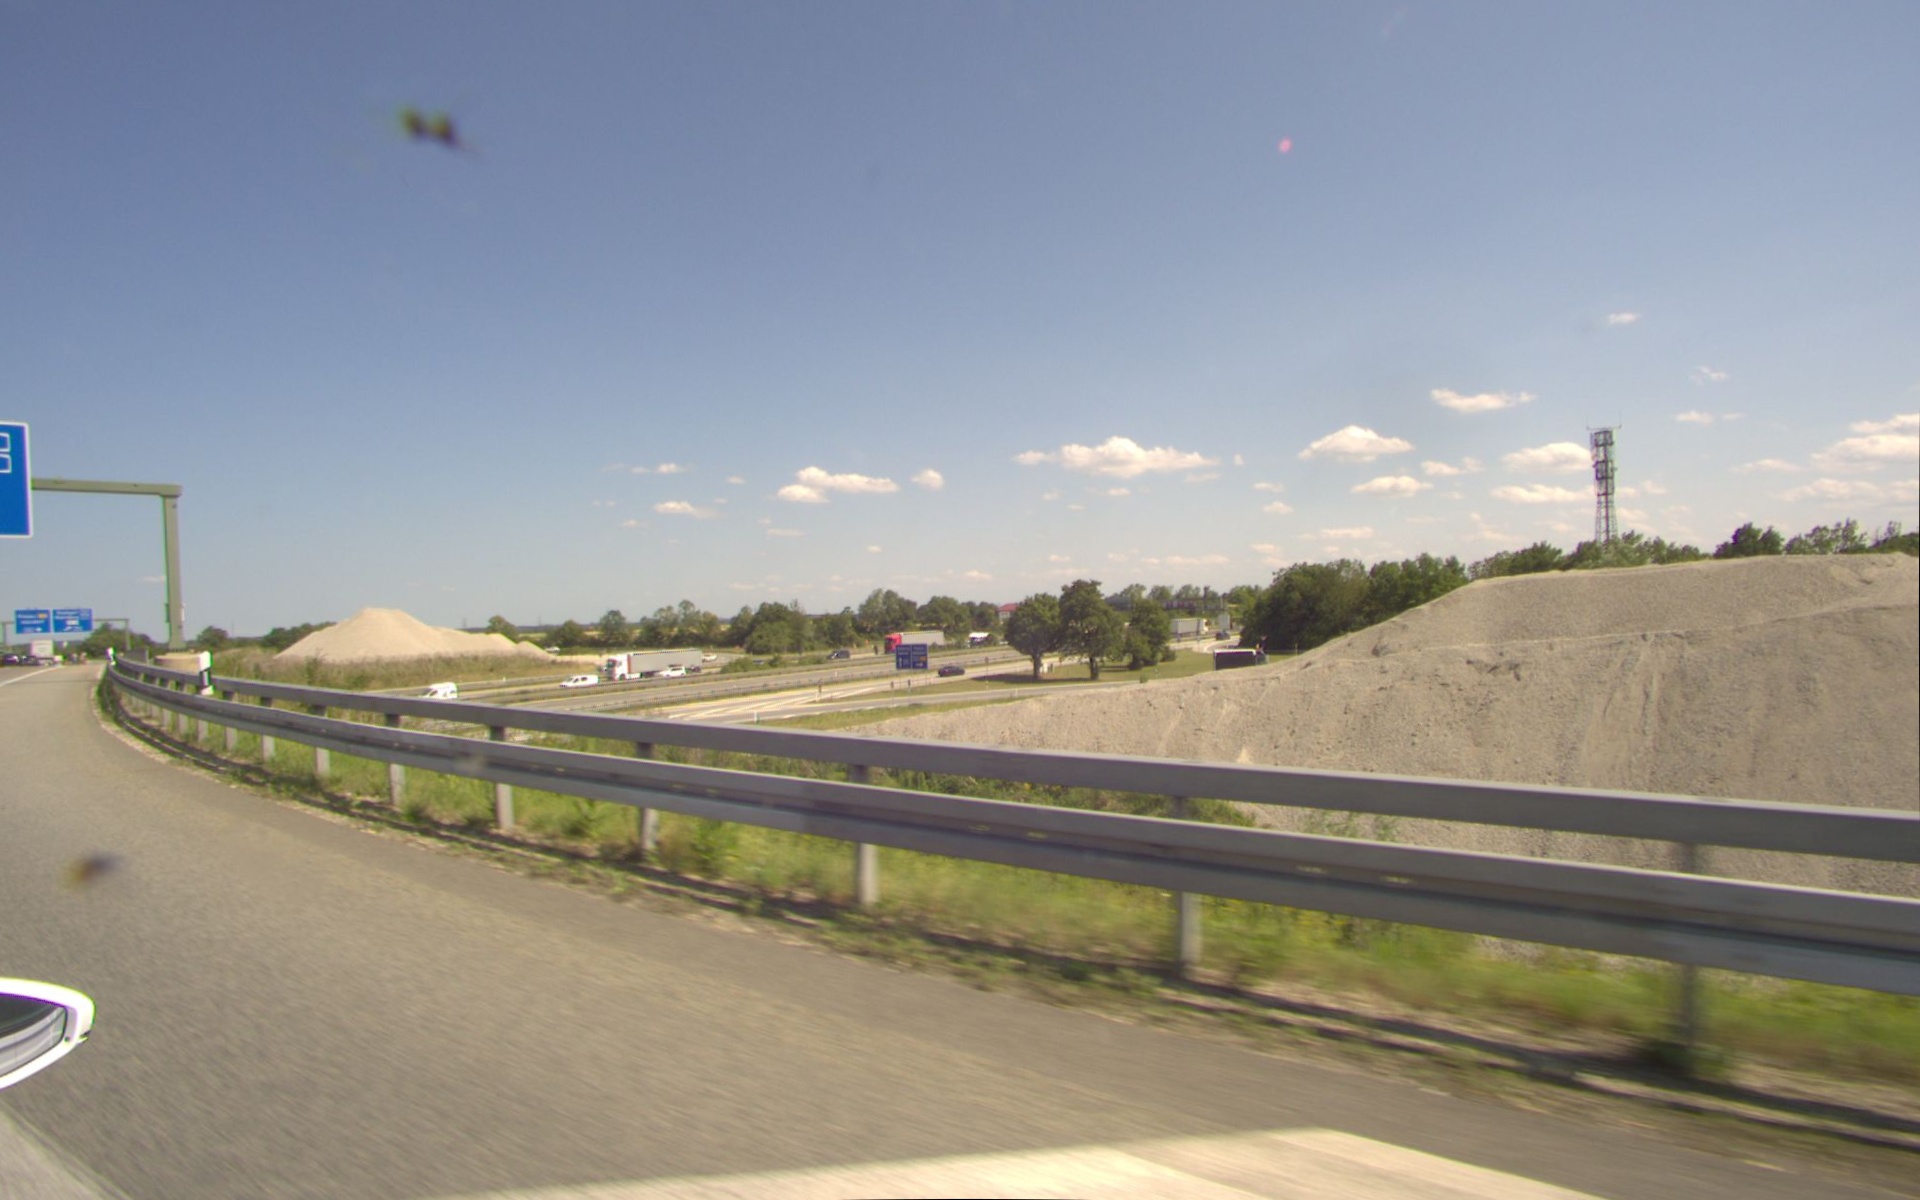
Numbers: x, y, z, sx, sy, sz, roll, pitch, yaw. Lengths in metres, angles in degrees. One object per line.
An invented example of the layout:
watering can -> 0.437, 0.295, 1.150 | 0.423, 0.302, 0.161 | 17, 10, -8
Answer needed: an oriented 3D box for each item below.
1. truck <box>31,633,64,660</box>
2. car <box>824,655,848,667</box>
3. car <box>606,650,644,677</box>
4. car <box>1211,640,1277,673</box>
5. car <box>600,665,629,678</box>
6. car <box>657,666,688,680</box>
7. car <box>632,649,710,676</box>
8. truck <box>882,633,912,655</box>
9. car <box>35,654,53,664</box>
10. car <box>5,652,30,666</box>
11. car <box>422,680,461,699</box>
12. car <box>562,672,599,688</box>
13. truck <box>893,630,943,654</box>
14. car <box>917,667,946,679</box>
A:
truck -> -148.451, 7.679, 163.064 | 3.514, 4.195, 11.165 | 3, -5, -41
car -> -22.882, 11.251, 184.945 | 1.977, 2.039, 4.377 | -3, -3, 39
car -> -51.249, 9.728, 153.315 | 2.454, 4.013, 5.122 | -2, -3, 39
car -> 31.767, 6.319, 112.207 | 6.943, 3.672, 2.002 | 0, -4, 9
car -> -59.973, 12.399, 173.652 | 1.977, 2.039, 4.377 | -3, -3, 39
car -> -44.882, 11.354, 156.446 | 1.977, 2.039, 4.377 | -3, -3, 39
car -> -45.950, 9.840, 159.860 | 2.454, 4.013, 12.919 | -2, -3, 39
truck -> -12.867, 8.943, 204.441 | 2.835, 4.118, 5.912 | -2, 0, 38
car -> -132.538, 8.526, 144.961 | 1.641, 1.397, 3.969 | 3, -5, -39
car -> -101.196, 6.341, 107.571 | 1.641, 1.397, 3.969 | 3, -5, -39
car -> -63.811, 11.003, 123.216 | 1.784, 2.039, 3.968 | -2, -3, 42
car -> -52.619, 11.042, 138.885 | 1.977, 2.039, 4.377 | -3, -3, 39
truck -> -8.694, 8.743, 209.834 | 2.835, 4.118, 12.483 | -2, 0, 38
car -> -3.898, 9.962, 137.368 | 1.973, 1.593, 3.981 | -2, -4, 33
